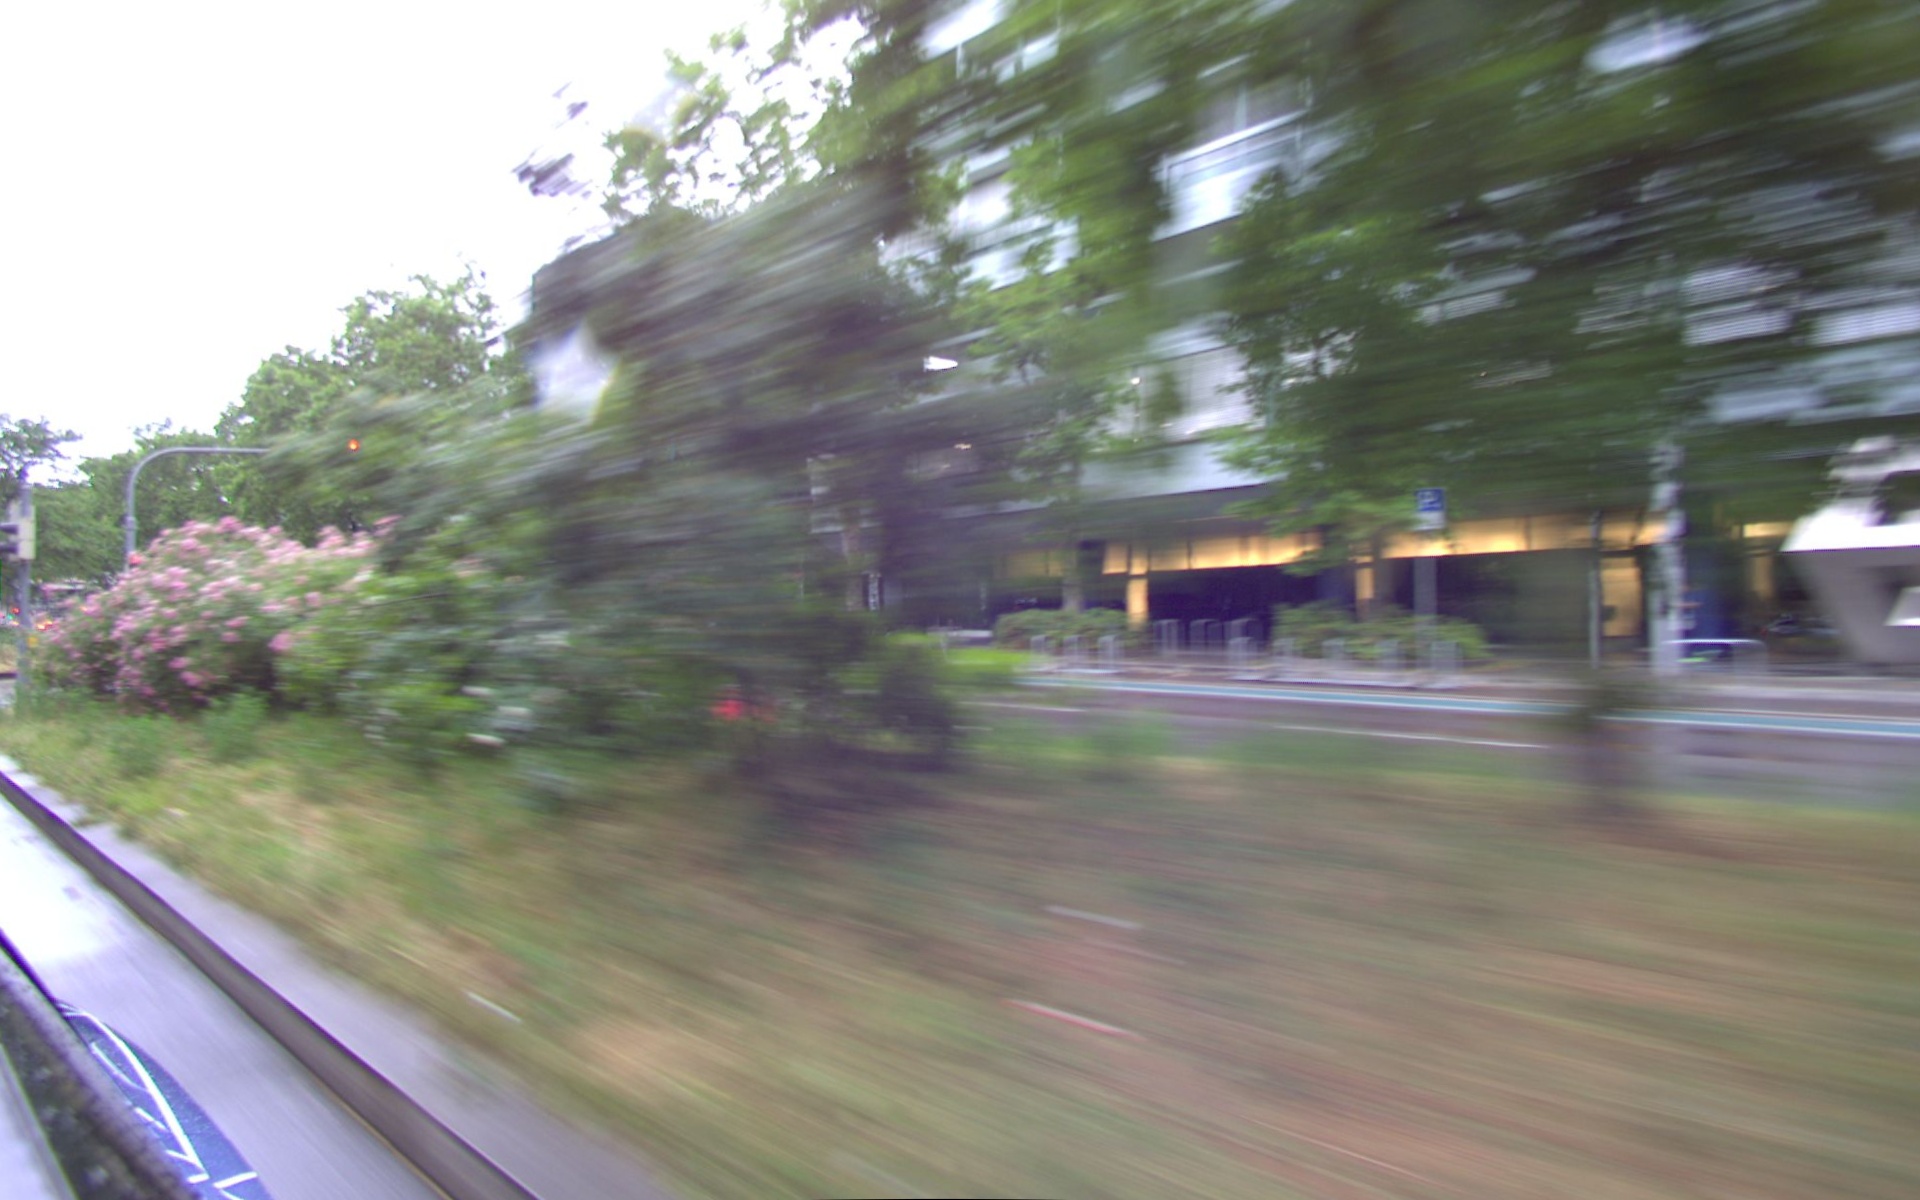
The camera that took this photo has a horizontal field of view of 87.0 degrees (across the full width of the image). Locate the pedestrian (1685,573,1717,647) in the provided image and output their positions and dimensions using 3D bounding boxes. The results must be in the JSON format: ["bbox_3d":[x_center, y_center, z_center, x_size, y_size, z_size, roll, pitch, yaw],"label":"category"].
[{"bbox_3d":[14.240,0.184,19.454,0.473,1.390,0.631,0,1,38],"label":"pedestrian"}]

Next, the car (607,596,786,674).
[{"bbox_3d":[-6.292,0.748,23.827,4.748,1.596,1.888,0,2,45],"label":"car"}]

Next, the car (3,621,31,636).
[{"bbox_3d":[-105.351,3.188,113.068,3.725,1.586,1.759,0,2,39],"label":"car"}]

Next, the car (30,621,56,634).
[{"bbox_3d":[-107.104,3.195,118.204,3.736,1.335,1.743,0,2,41],"label":"car"}]
